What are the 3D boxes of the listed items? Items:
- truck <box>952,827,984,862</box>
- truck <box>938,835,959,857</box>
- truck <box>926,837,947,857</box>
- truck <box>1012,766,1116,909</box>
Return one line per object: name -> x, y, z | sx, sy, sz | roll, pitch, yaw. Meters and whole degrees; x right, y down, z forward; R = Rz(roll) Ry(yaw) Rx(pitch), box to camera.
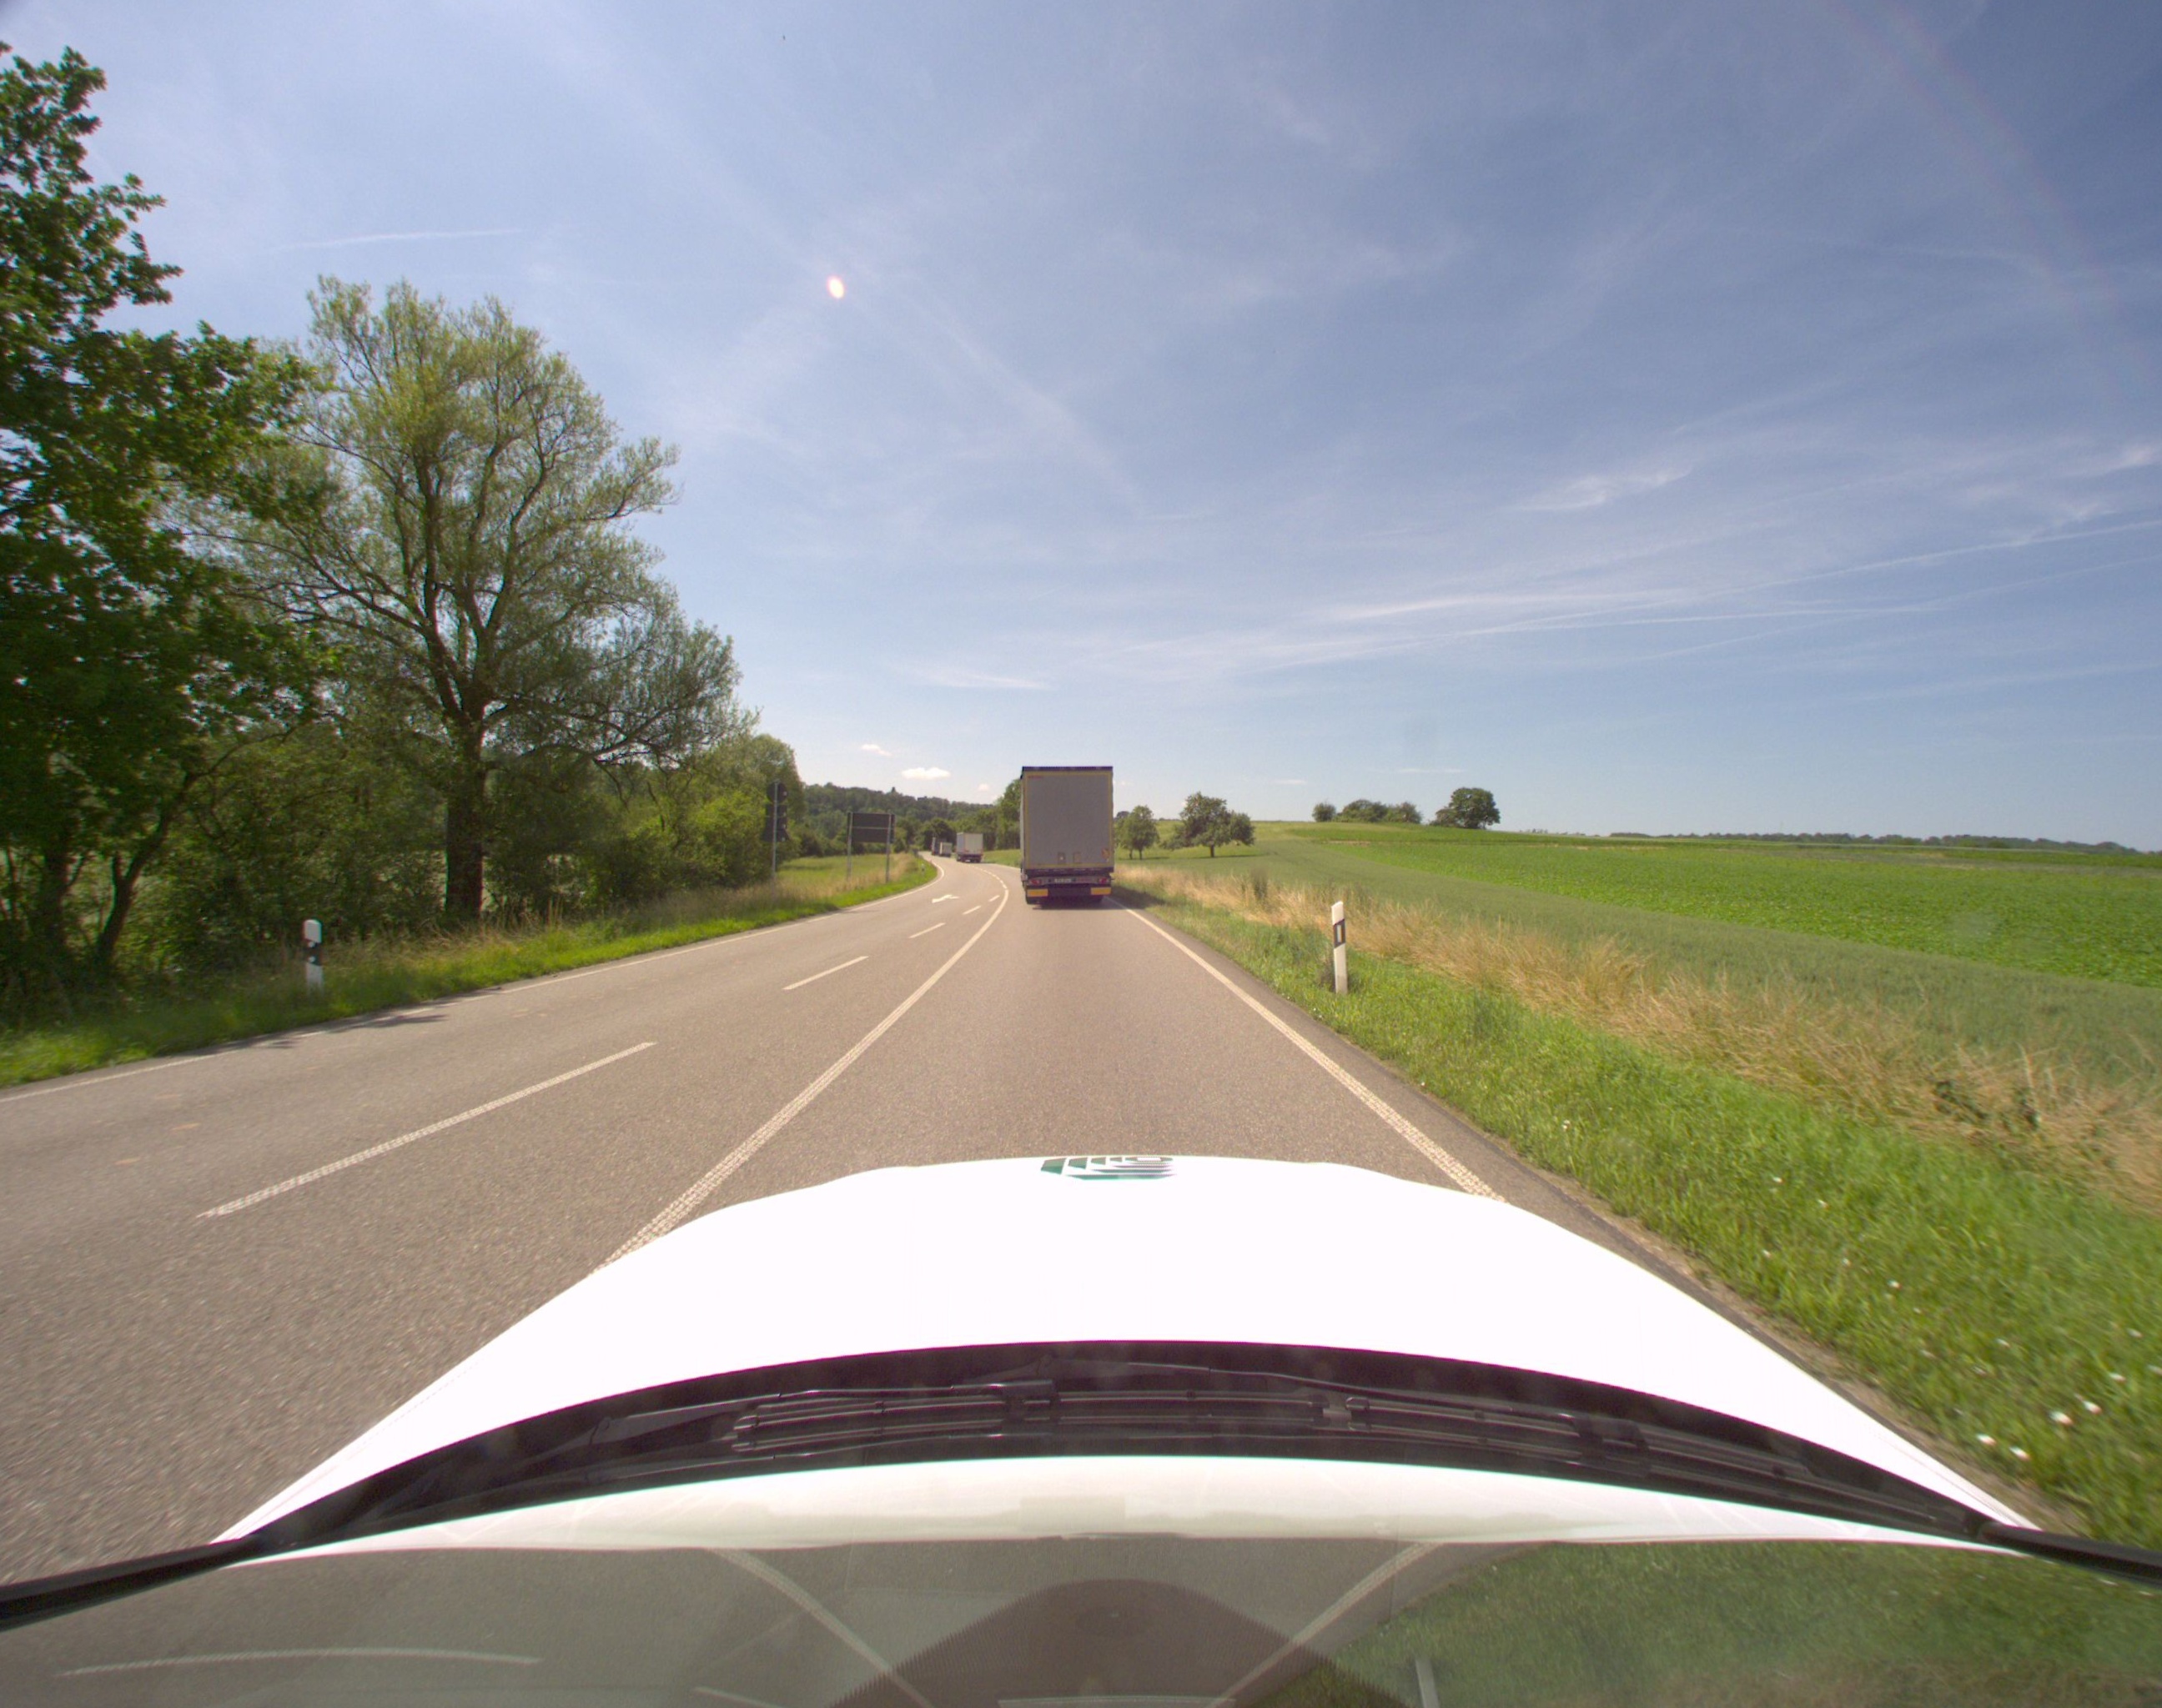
truck -> -15.926, -1.202, 113.693 | 2.964, 4.584, 16.241 | 1, 0, -13
truck -> -27.919, -1.523, 170.701 | 3.639, 4.130, 13.043 | 2, -2, -12
truck -> -33.459, -1.524, 188.384 | 3.536, 4.241, 13.333 | 2, -2, -15
truck -> -0.858, -0.446, 27.417 | 2.804, 3.946, 9.572 | -1, 0, -5
